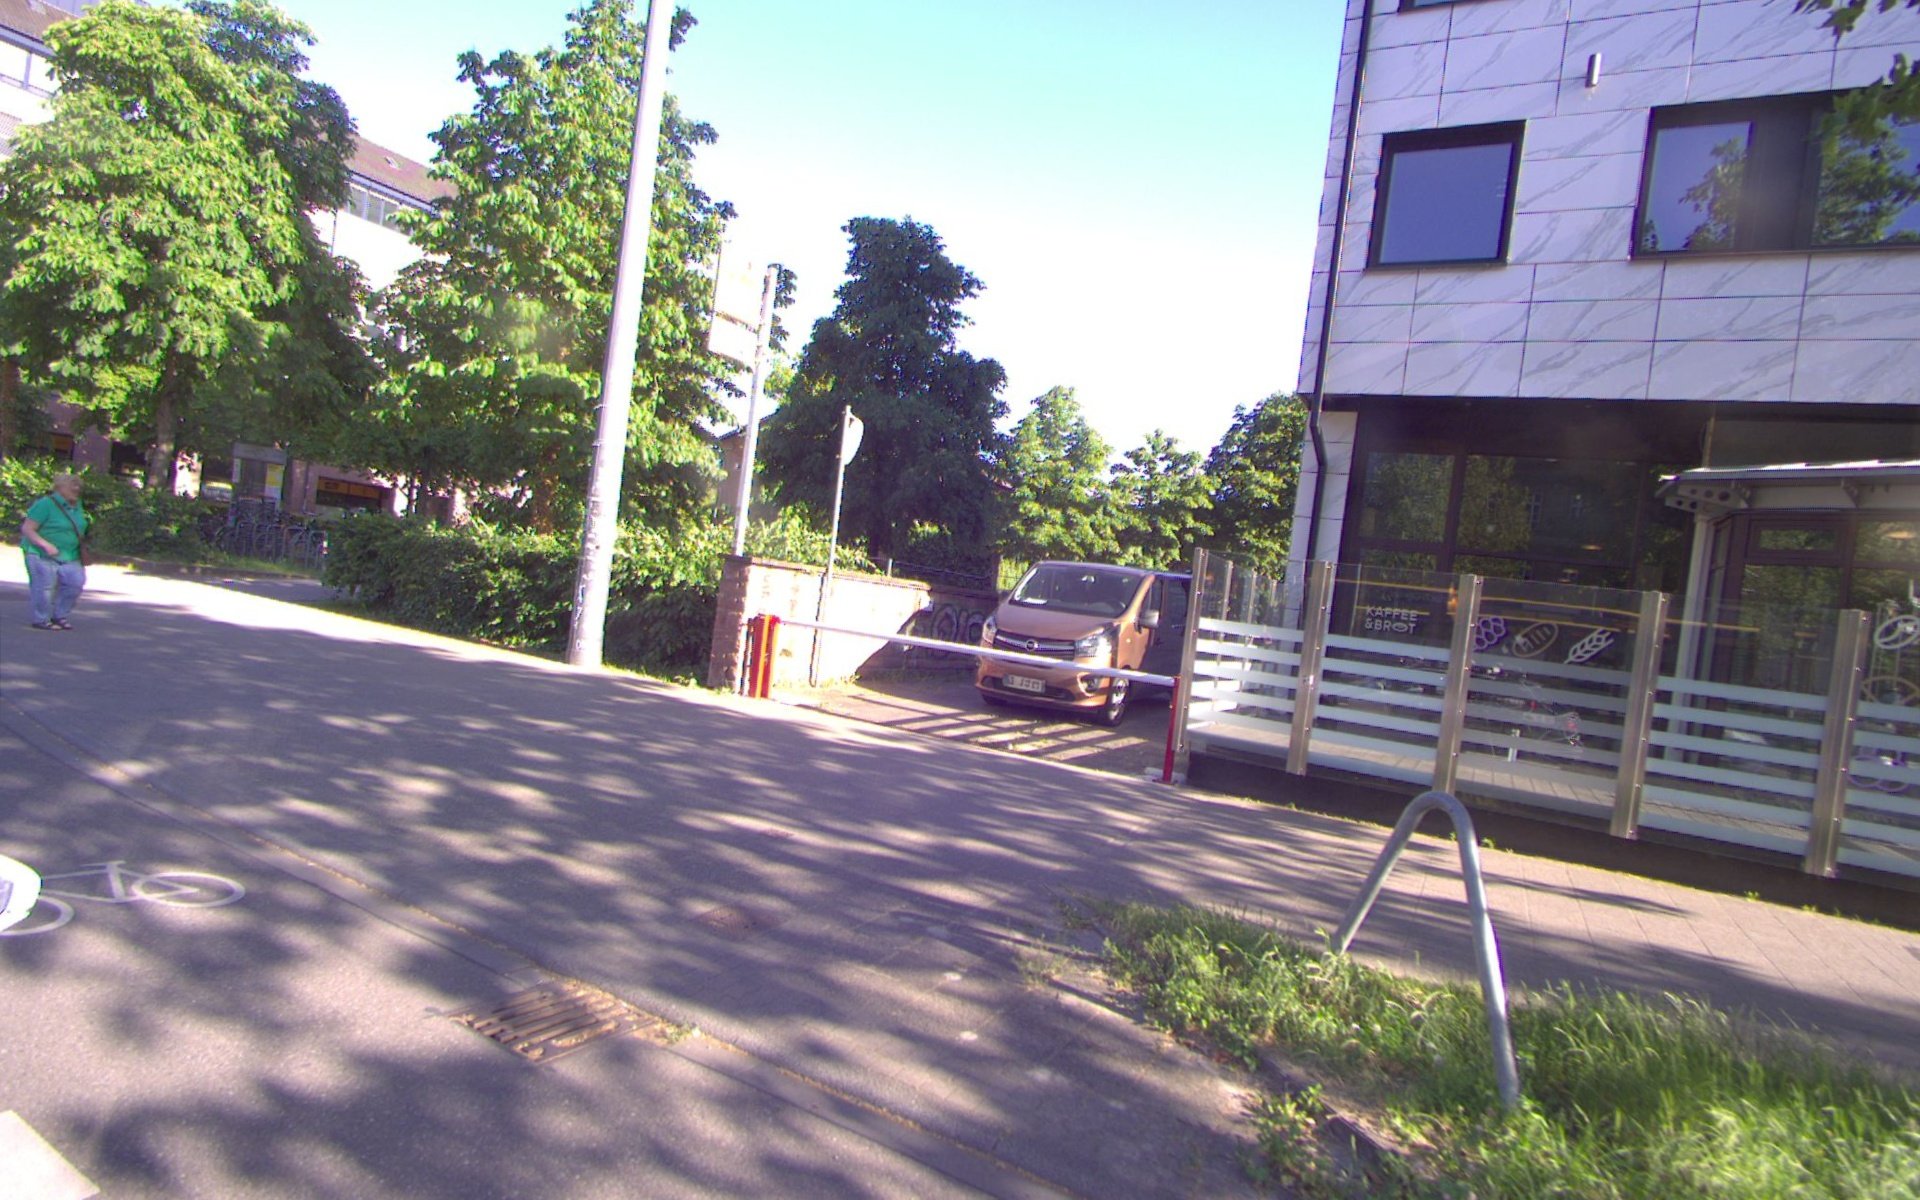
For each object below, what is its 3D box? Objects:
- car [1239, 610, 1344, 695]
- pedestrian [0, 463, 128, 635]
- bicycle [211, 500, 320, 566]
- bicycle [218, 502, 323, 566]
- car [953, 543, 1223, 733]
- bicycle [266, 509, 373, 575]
[{"bbox_3d":[7.906,1.245,23.795,1.567,1.692,3.615,7,1,28],"label":"car"},{"bbox_3d":[-9.142,-0.505,10.146,0.819,1.596,0.736,6,1,-14],"label":"pedestrian"},{"bbox_3d":[-16.492,-1.570,23.947,0.564,1.332,1.997,8,2,31],"label":"bicycle"},{"bbox_3d":[-16.814,-1.584,24.591,0.564,1.332,1.997,8,2,31],"label":"bicycle"},{"bbox_3d":[1.997,0.457,13.949,1.880,2.011,4.900,7,3,28],"label":"car"},{"bbox_3d":[-15.006,-1.343,23.613,0.564,1.332,1.997,8,2,31],"label":"bicycle"}]
